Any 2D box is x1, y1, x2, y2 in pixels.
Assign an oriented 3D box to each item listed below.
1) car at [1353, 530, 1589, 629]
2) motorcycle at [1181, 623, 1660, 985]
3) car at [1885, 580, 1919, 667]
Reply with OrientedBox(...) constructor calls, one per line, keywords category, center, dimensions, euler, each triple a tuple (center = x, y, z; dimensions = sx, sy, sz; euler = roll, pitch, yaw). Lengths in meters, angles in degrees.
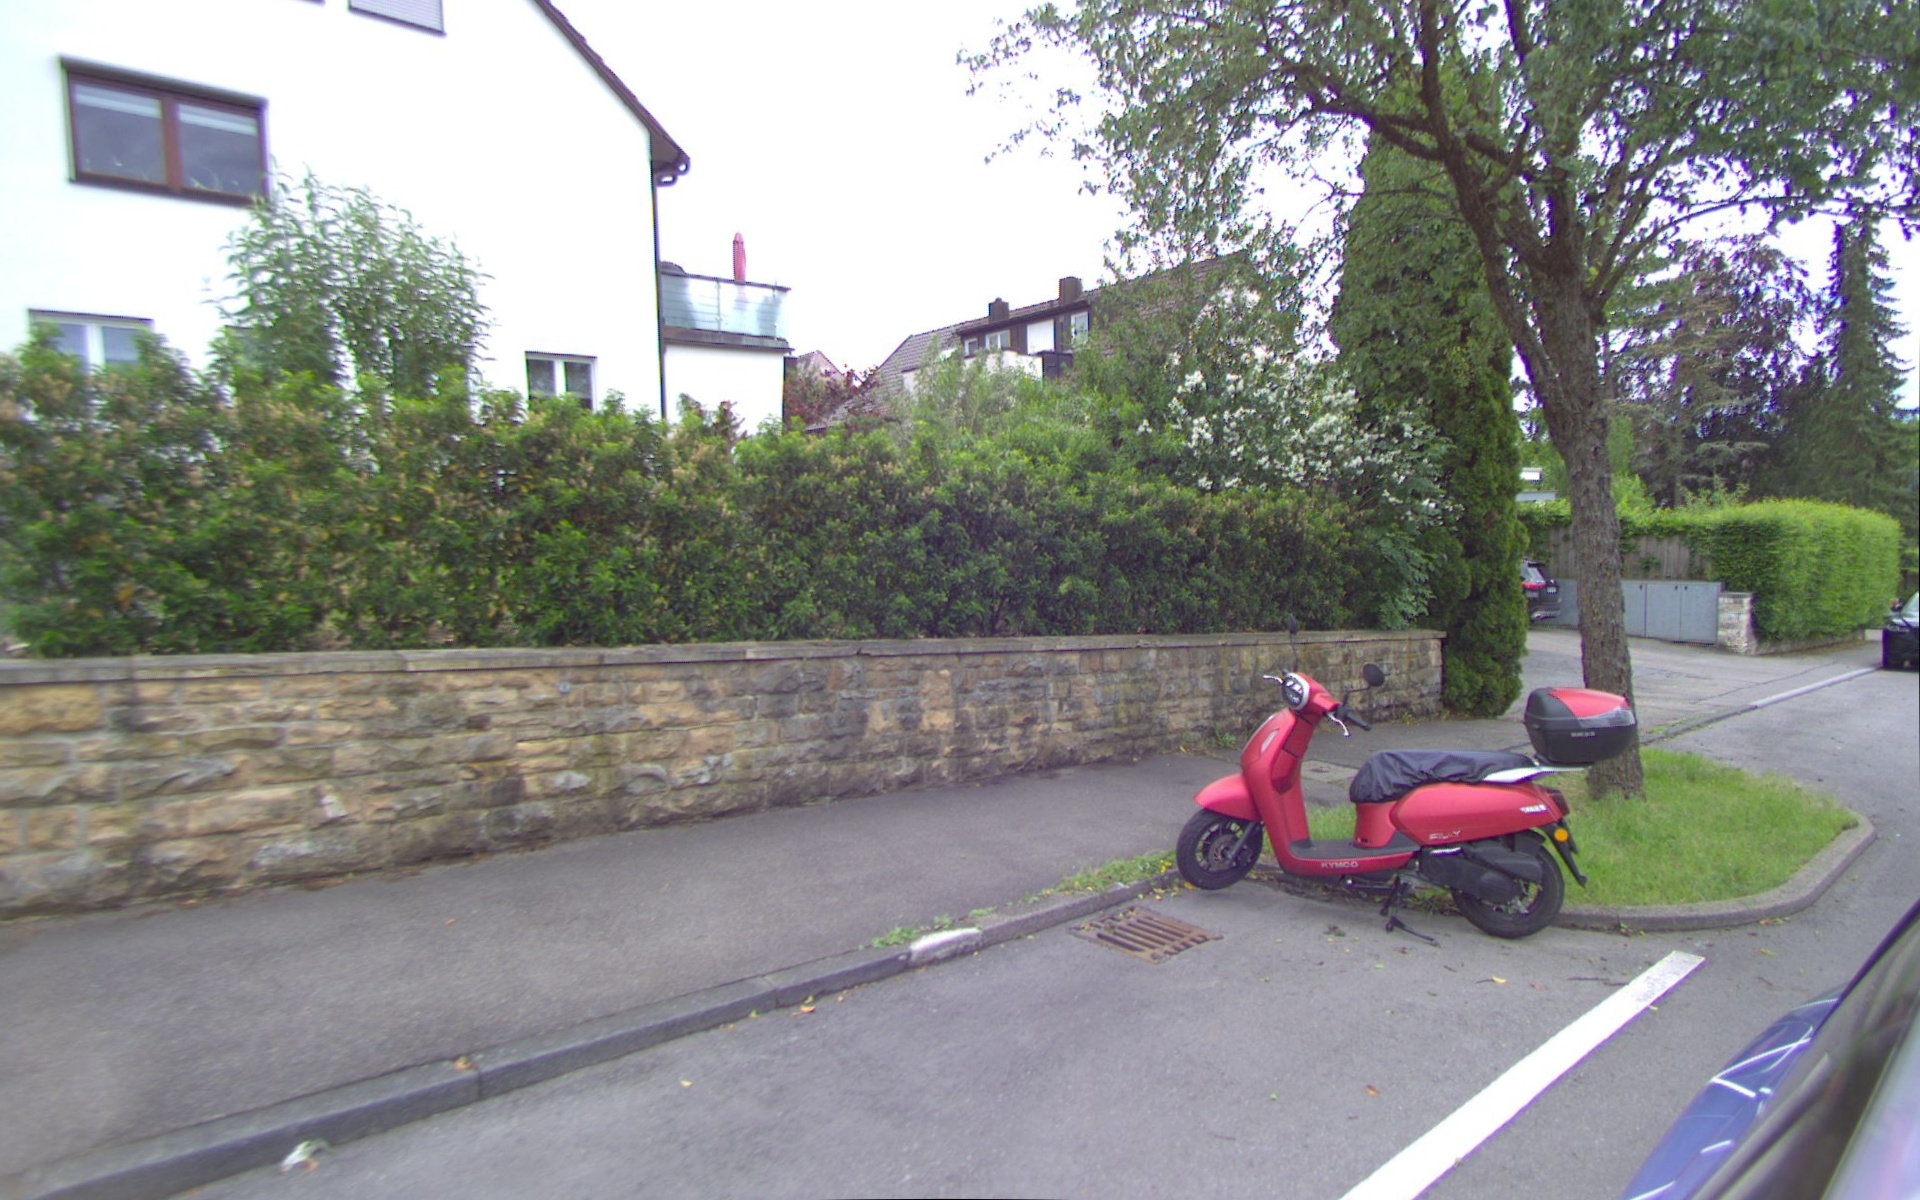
OrientedBox(category="car", center=(11.730, -0.546, 23.498), dimensions=(1.852, 1.667, 4.377), euler=(0, 9, -41))
OrientedBox(category="motorcycle", center=(1.981, 0.841, 4.621), dimensions=(1.841, 1.363, 0.597), euler=(2, 2, 15))
OrientedBox(category="car", center=(20.260, 0.422, 20.052), dimensions=(4.428, 1.638, 2.000), euler=(-1, 1, -36))
